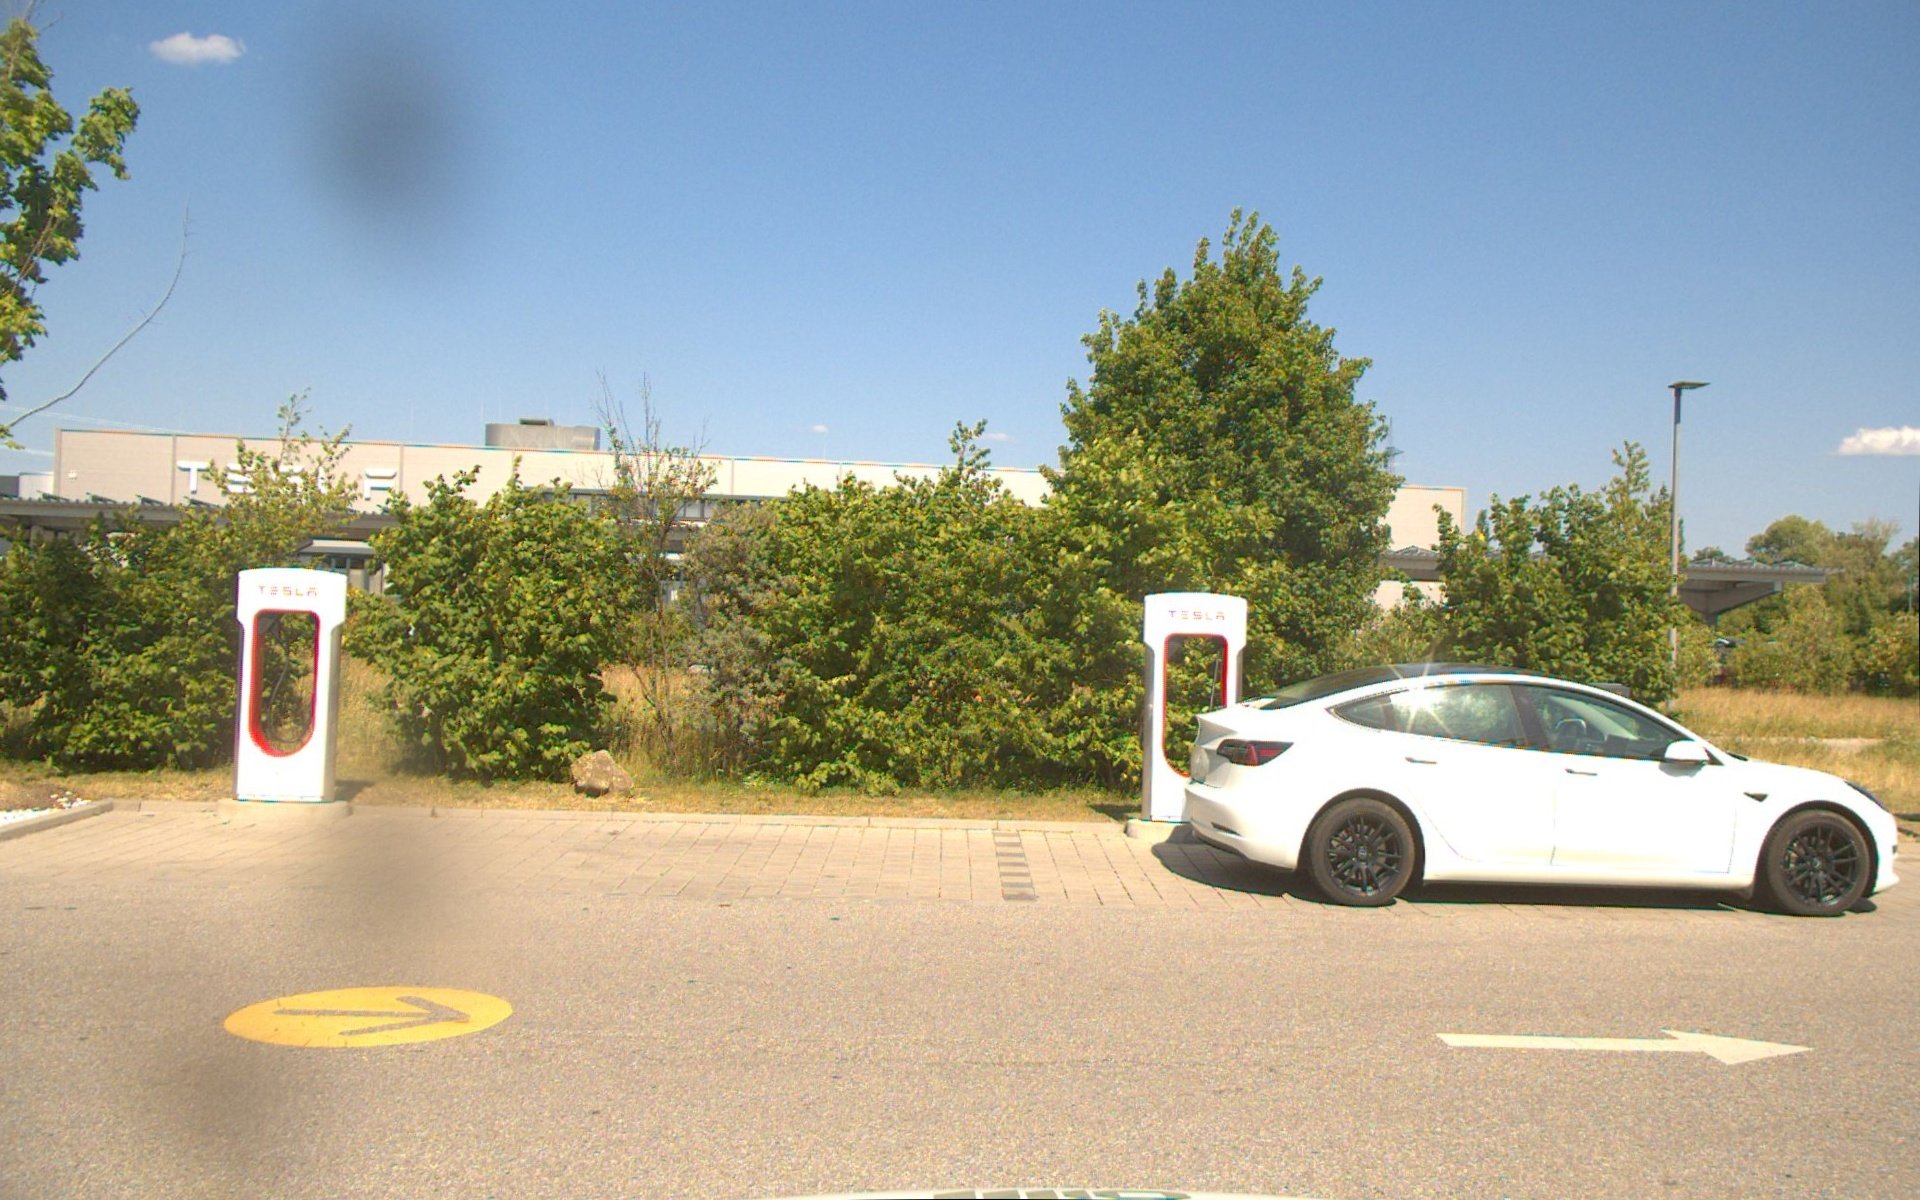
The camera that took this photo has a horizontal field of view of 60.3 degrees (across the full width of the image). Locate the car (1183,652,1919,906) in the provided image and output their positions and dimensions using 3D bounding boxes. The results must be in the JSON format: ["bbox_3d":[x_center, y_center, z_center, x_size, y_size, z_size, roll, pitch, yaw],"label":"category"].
[{"bbox_3d":[3.774,1.109,10.842,4.344,1.402,1.822,1,-1,-2],"label":"car"}]
